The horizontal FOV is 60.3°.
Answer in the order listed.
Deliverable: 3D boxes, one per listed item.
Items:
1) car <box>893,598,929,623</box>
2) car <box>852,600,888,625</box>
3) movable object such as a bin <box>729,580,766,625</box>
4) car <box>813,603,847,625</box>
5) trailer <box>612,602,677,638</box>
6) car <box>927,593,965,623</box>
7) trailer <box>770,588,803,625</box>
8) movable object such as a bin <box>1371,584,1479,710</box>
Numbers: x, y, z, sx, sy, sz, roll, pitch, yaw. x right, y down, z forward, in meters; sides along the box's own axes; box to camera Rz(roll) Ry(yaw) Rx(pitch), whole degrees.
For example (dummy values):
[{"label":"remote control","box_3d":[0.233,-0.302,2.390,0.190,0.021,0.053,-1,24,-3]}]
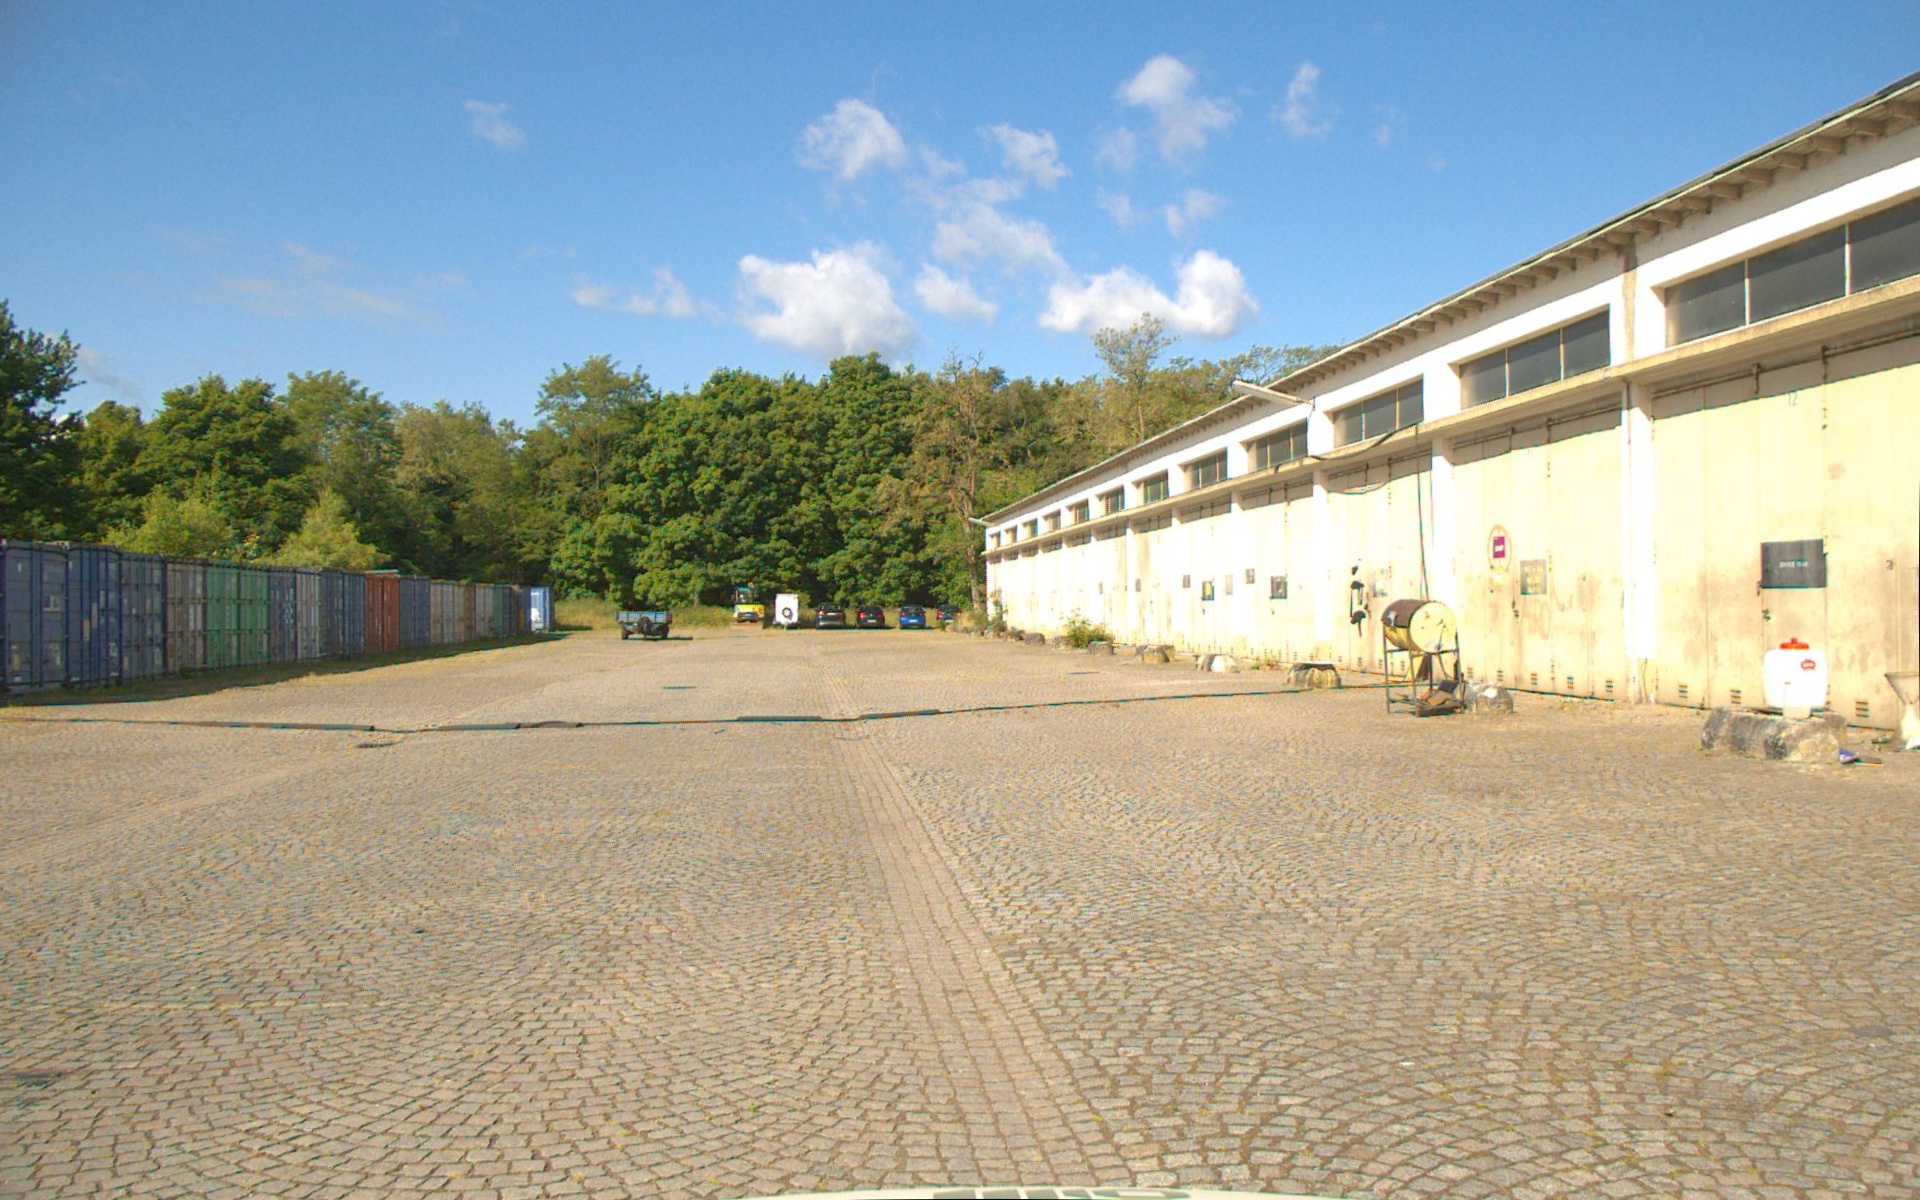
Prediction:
[{"label":"car","box_3d":[-3.065,0.652,102.544,1.955,1.491,3.995,-1,0,-6]},{"label":"car","box_3d":[-5.592,0.749,102.274,1.955,1.449,3.995,-1,0,-6]},{"label":"movable object such as a bin","box_3d":[-13.239,0.170,103.058,2.190,2.703,3.992,-1,0,-8]},{"label":"car","box_3d":[-8.018,0.829,101.630,1.955,1.280,3.995,-1,0,-6]},{"label":"trailer","box_3d":[-15.842,0.973,83.360,2.738,1.675,5.612,-1,0,-7]},{"label":"car","box_3d":[-0.891,0.480,104.036,1.955,1.803,3.995,-1,0,-6]},{"label":"trailer","box_3d":[-10.755,0.407,102.570,1.955,2.200,4.425,-1,0,-6]},{"label":"movable object such as a bin","box_3d":[5.478,0.544,19.543,0.858,1.426,1.100,-1,0,-7]}]
